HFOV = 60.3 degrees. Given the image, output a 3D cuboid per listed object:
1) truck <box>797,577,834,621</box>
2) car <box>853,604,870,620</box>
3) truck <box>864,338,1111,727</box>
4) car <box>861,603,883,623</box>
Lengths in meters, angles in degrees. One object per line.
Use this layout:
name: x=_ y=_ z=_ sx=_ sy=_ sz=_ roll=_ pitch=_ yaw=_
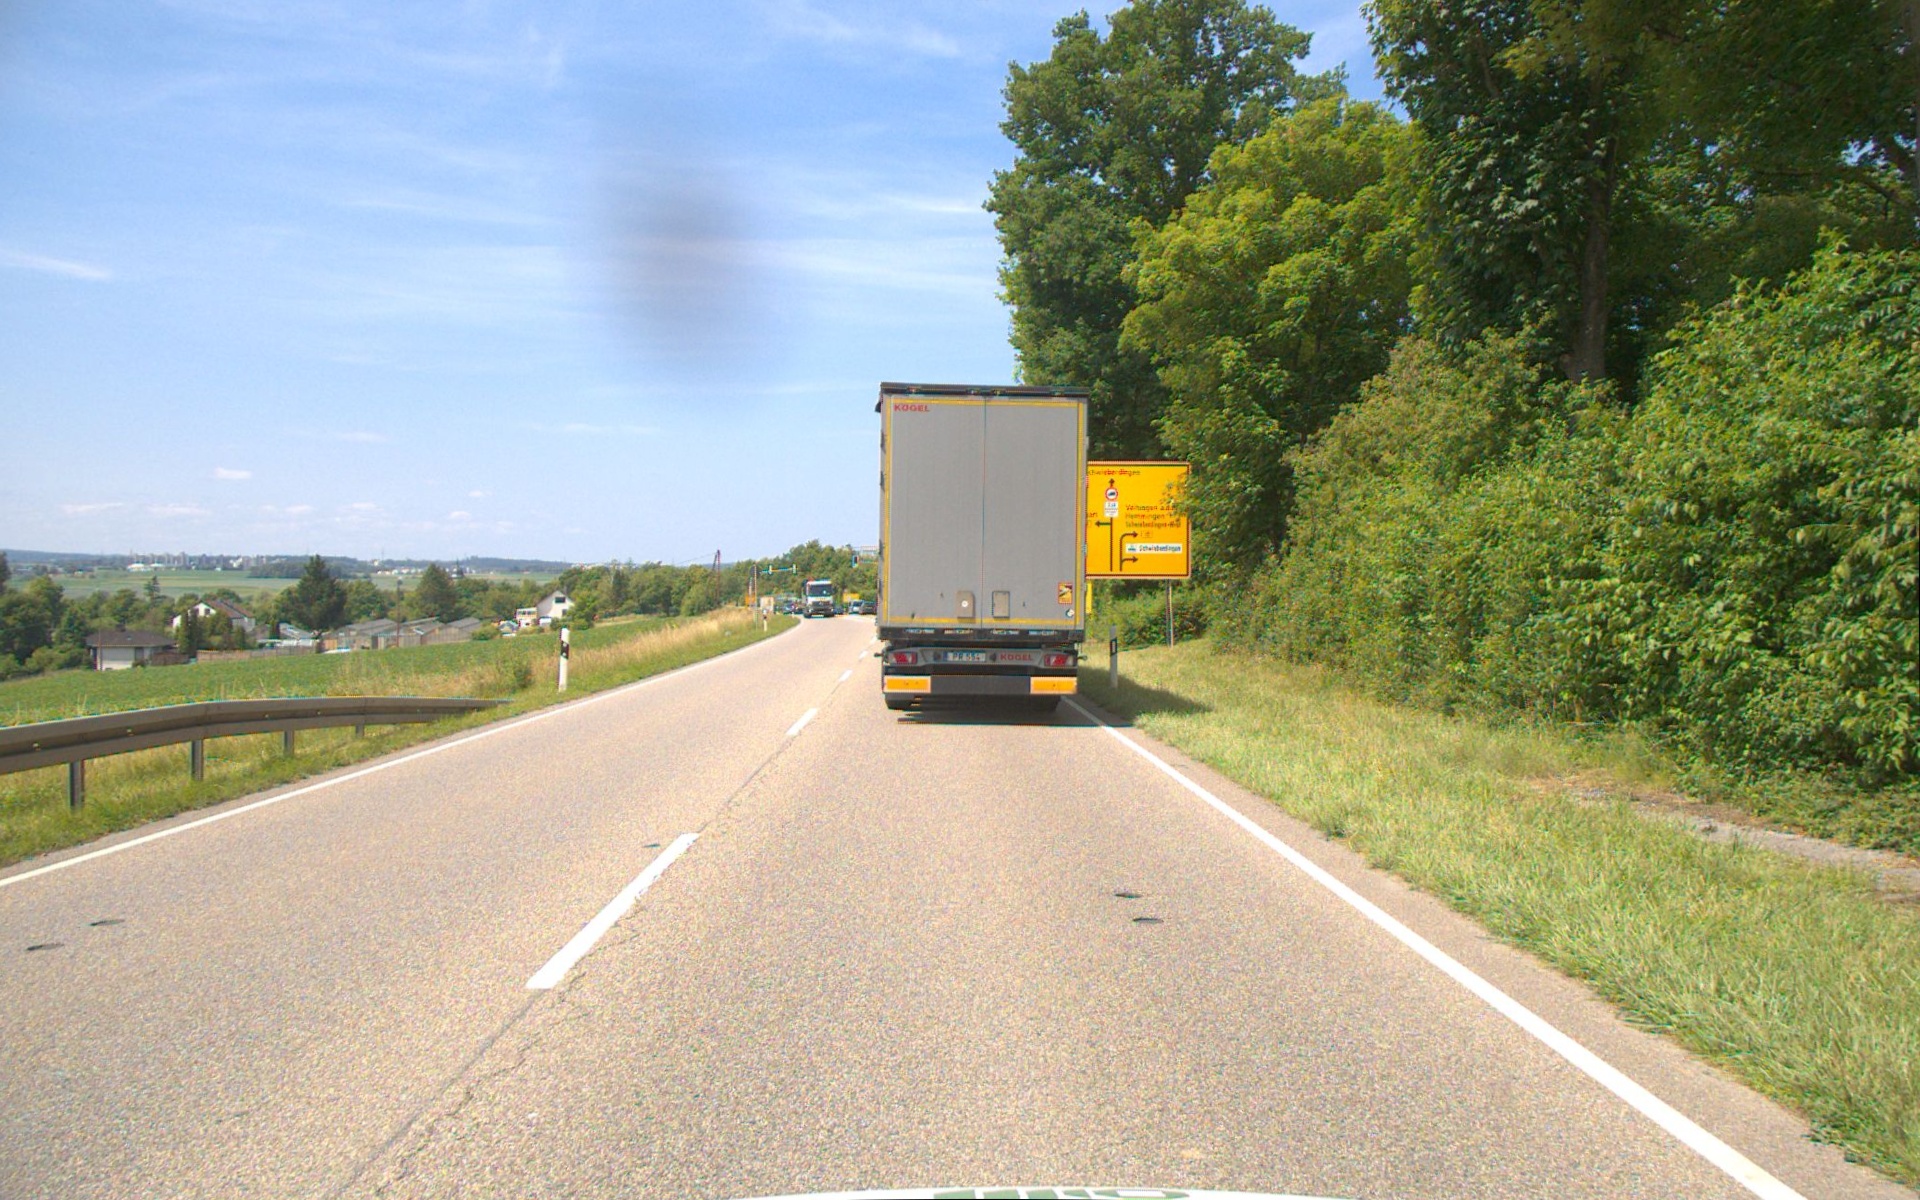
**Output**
truck: x=-13.040 y=-0.030 z=148.833 sx=2.705 sy=3.638 sz=11.045 roll=-3 pitch=0 yaw=-8
car: x=-11.905 y=1.480 z=199.660 sx=1.856 sy=1.808 sz=4.380 roll=-2 pitch=0 yaw=-6
truck: x=0.094 y=-0.788 z=23.646 sx=2.849 sy=4.487 sz=8.854 roll=0 pitch=0 yaw=-3
car: x=-9.876 y=1.441 z=185.075 sx=2.130 sy=2.049 sz=4.520 roll=-2 pitch=0 yaw=-6
